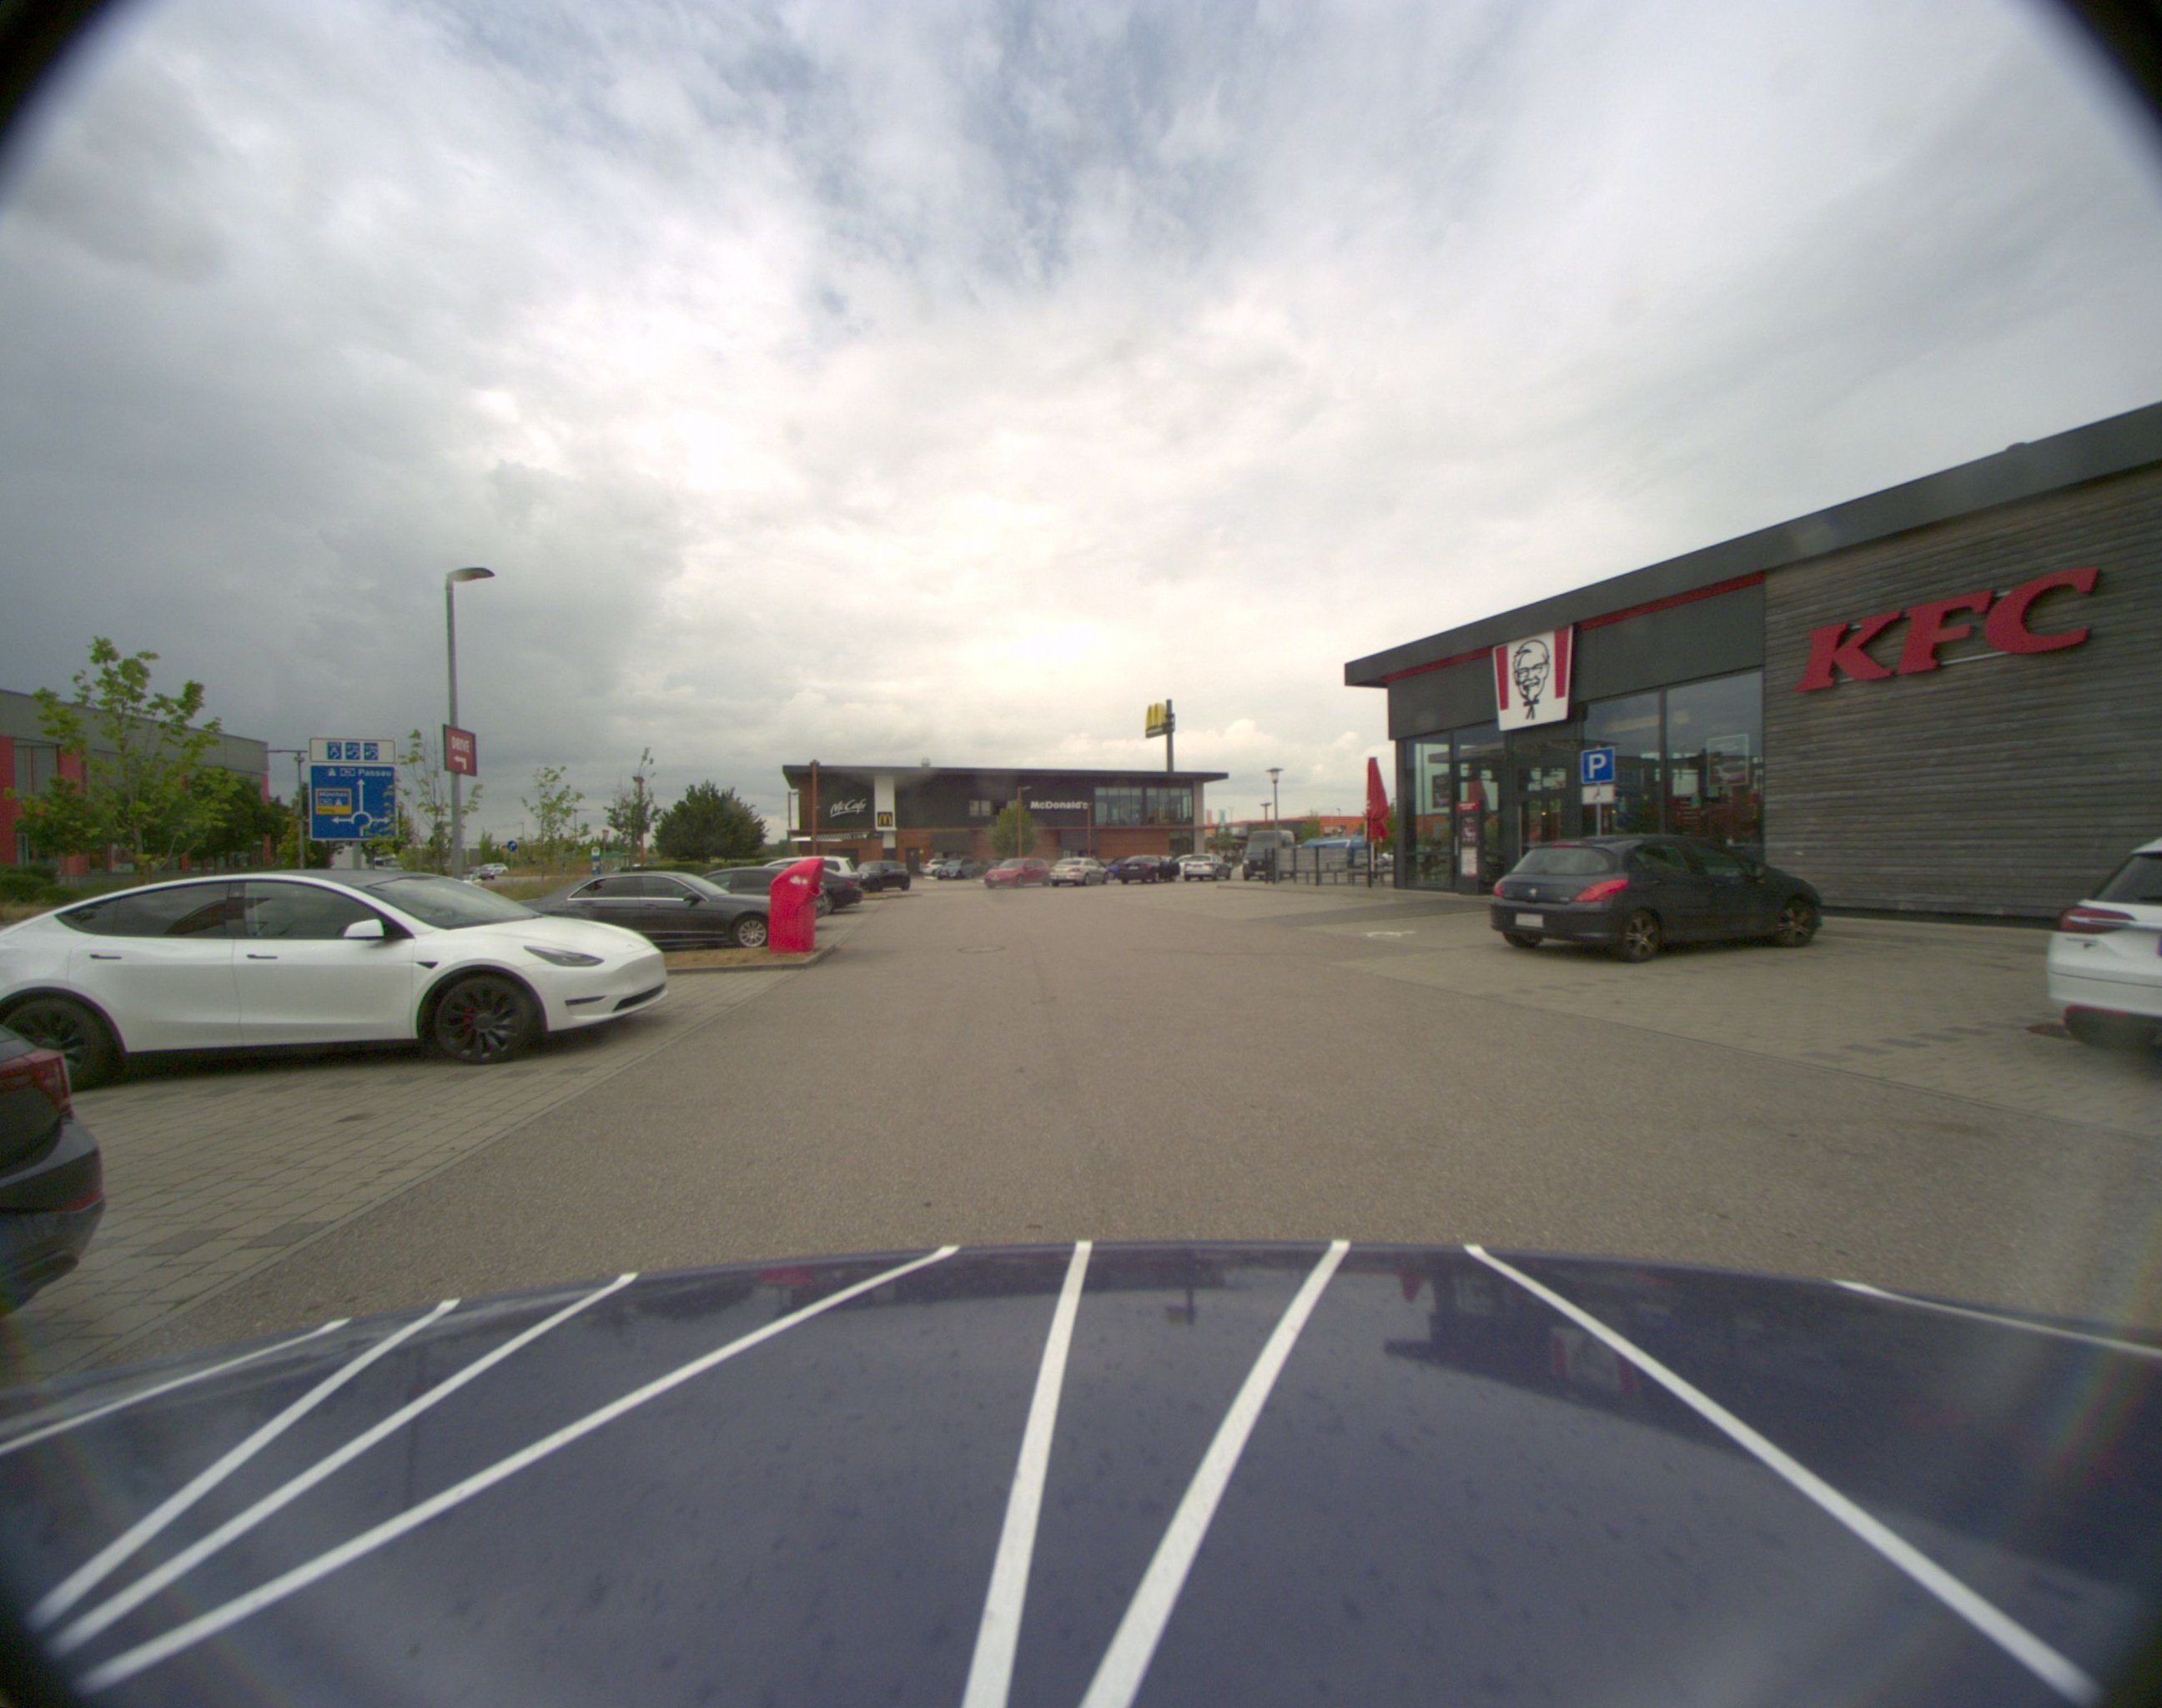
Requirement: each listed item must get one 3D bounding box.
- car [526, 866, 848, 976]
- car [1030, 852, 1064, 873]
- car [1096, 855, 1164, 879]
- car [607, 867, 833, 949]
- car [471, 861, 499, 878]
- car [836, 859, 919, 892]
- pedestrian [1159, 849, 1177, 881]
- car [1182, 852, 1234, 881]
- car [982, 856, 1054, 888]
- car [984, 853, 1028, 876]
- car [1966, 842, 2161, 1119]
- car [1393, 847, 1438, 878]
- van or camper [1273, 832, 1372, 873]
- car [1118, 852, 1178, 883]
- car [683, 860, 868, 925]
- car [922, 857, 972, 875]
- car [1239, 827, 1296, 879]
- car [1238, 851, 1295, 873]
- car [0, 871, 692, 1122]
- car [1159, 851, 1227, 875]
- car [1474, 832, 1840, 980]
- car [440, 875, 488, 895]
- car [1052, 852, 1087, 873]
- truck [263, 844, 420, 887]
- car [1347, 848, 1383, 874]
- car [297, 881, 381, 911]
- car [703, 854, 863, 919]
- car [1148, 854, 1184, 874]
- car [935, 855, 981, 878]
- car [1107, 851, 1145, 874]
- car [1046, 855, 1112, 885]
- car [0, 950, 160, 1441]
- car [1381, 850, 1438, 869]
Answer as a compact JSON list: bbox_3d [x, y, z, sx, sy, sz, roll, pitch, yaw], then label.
[{"bbox_3d":[-6.794,1.108,13.704,4.743,1.448,1.909,-3,2,-13],"label":"car"},{"bbox_3d":[-2.972,0.725,64.768,1.754,1.743,3.993,0,0,-20],"label":"car"},{"bbox_3d":[3.150,0.813,48.767,3.989,1.501,1.773,0,0,26],"label":"car"},{"bbox_3d":[-7.643,1.101,16.522,4.072,1.404,1.886,-3,1,-14],"label":"car"},{"bbox_3d":[-63.163,1.635,80.478,2.004,1.696,3.988,-1,1,-42],"label":"car"},{"bbox_3d":[-9.388,0.983,35.330,1.683,1.403,3.937,-2,-1,21],"label":"car"},{"bbox_3d":[4.490,0.564,39.158,0.747,1.668,0.844,0,1,22],"label":"pedestrian"},{"bbox_3d":[6.933,0.650,41.062,1.683,1.443,4.007,-2,-1,25],"label":"car"},{"bbox_3d":[-3.030,0.850,37.377,1.683,1.455,4.007,-2,-1,25],"label":"car"},{"bbox_3d":[-5.819,0.802,59.230,1.996,1.739,4.006,0,-1,18],"label":"car"},{"bbox_3d":[7.934,0.659,4.511,4.182,1.477,1.997,-1,1,-17],"label":"car"},{"bbox_3d":[19.755,0.489,45.058,1.996,1.718,4.904,0,0,18],"label":"car"},{"bbox_3d":[17.789,-0.065,56.049,6.557,2.684,2.177,-2,-1,30],"label":"van or camper"},{"bbox_3d":[3.507,0.675,39.211,1.683,1.454,4.415,-2,-1,24],"label":"car"},{"bbox_3d":[-8.423,1.027,21.402,4.518,1.458,1.945,-3,1,-14],"label":"car"},{"bbox_3d":[-11.514,0.988,65.135,4.004,1.497,1.786,0,0,-20],"label":"car"},{"bbox_3d":[10.210,-0.045,41.206,2.068,2.538,7.024,-2,-1,21],"label":"car"},{"bbox_3d":[12.897,0.580,52.866,3.565,1.445,1.846,-2,0,23],"label":"car"},{"bbox_3d":[-6.181,1.061,6.576,4.545,1.532,1.924,-3,1,-8],"label":"car"},{"bbox_3d":[7.344,0.626,49.754,4.102,1.458,1.783,-1,-2,22],"label":"car"},{"bbox_3d":[7.377,0.566,9.806,3.942,1.478,1.756,-3,1,-17],"label":"car"},{"bbox_3d":[-47.381,2.352,58.451,1.757,1.482,4.123,-1,-1,-23],"label":"car"},{"bbox_3d":[-1.038,0.735,65.382,1.754,1.743,3.993,0,0,-20],"label":"car"},{"bbox_3d":[-79.744,1.193,82.248,12.000,4.472,3.763,0,0,-11],"label":"truck"},{"bbox_3d":[16.682,0.369,44.845,1.829,1.403,4.005,-2,0,19],"label":"car"},{"bbox_3d":[-41.272,2.295,42.388,1.757,1.482,4.124,-1,-1,-20],"label":"car"},{"bbox_3d":[-9.224,0.975,23.903,4.374,1.703,1.990,-3,1,-14],"label":"car"},{"bbox_3d":[7.169,0.815,63.908,1.786,1.478,4.006,1,3,26],"label":"car"},{"bbox_3d":[-9.336,0.942,57.970,1.746,1.575,3.910,0,2,21],"label":"car"},{"bbox_3d":[3.741,0.687,62.390,1.894,1.653,4.264,0,3,22],"label":"car"},{"bbox_3d":[-0.030,0.768,38.082,1.749,1.403,4.467,-2,-1,21],"label":"car"},{"bbox_3d":[-5.086,1.136,1.610,3.807,1.404,1.737,-3,1,-6],"label":"car"},{"bbox_3d":[30.019,0.458,69.575,2.075,1.593,4.936,-1,1,-18],"label":"car"}]
